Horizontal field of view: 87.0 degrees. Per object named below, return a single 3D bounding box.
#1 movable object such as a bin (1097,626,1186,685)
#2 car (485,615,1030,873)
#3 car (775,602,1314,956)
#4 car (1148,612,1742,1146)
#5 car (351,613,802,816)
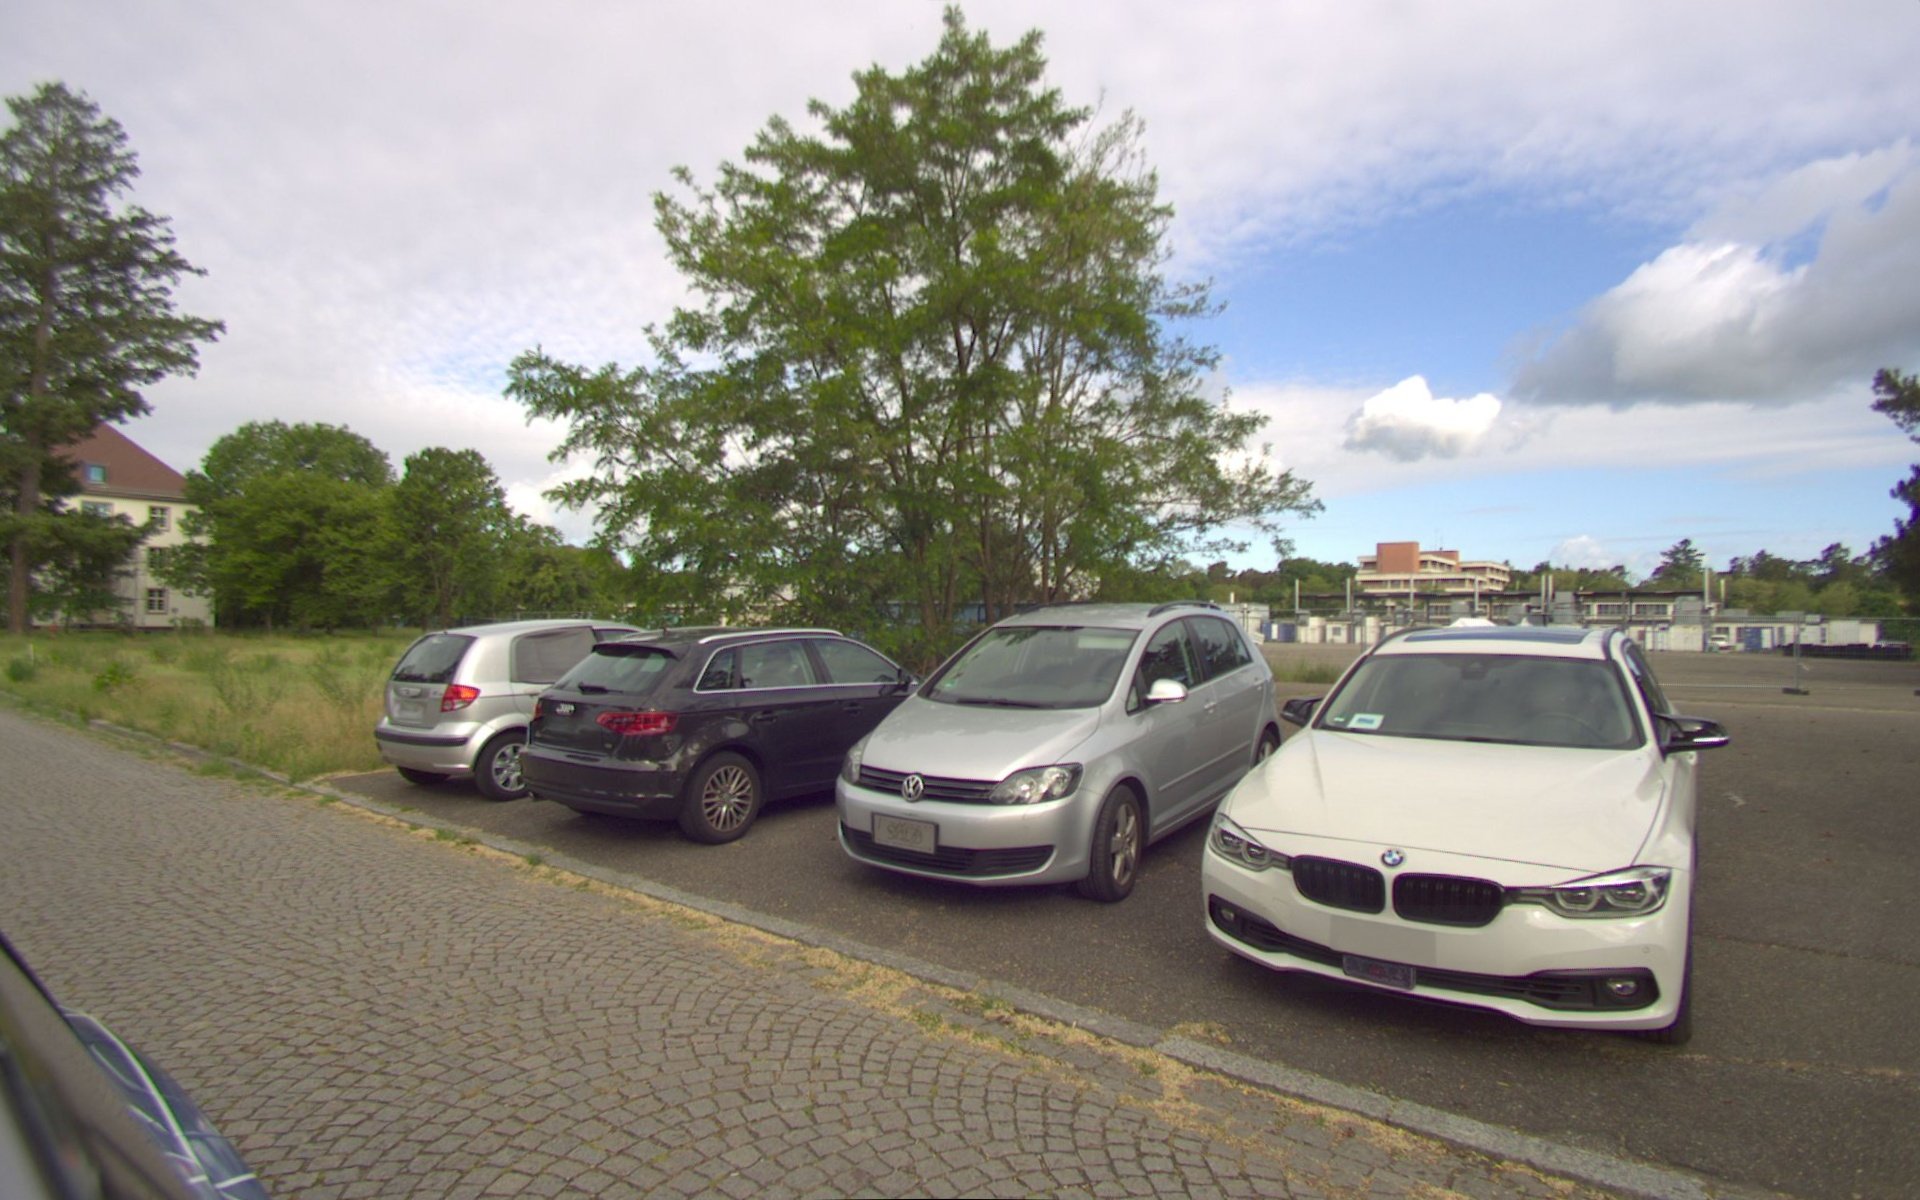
[{"bbox_3d":[3.769,1.131,20.879,0.857,1.134,2.240,0,-3,38],"label":"movable object such as a bin"},{"bbox_3d":[-1.347,0.906,8.379,1.719,1.435,4.393,-1,0,37],"label":"car"},{"bbox_3d":[0.920,0.837,6.985,1.867,1.610,4.327,-1,0,33],"label":"car"},{"bbox_3d":[2.919,0.857,5.402,1.864,1.499,4.695,-2,-1,37],"label":"car"},{"bbox_3d":[-3.520,0.925,9.941,1.582,1.481,3.914,-1,0,36],"label":"car"}]
